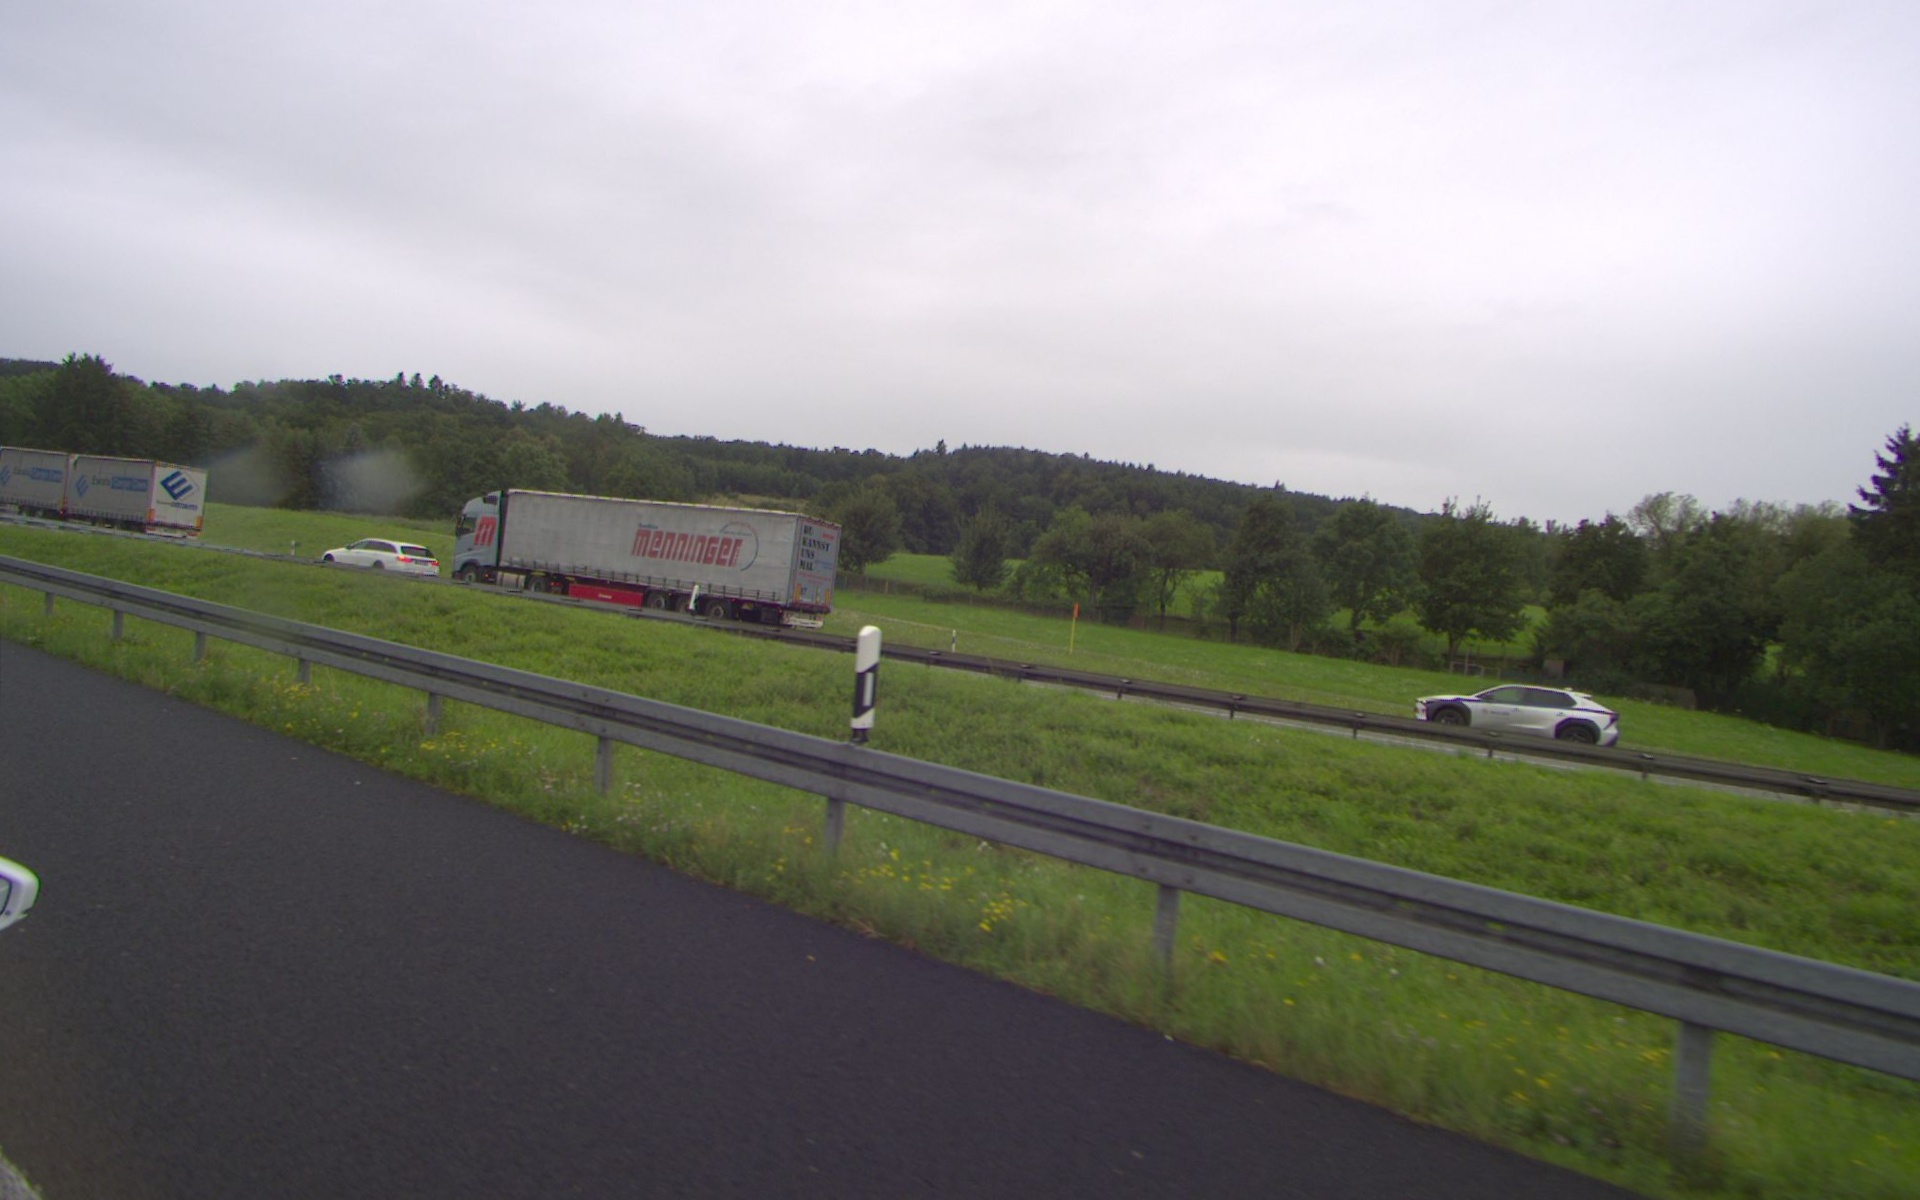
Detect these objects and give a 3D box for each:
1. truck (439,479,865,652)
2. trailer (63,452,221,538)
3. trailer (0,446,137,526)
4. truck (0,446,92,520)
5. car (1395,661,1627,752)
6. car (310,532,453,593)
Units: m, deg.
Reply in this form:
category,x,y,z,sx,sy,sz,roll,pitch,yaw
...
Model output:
category,x,y,z,sx,sy,sz,roll,pitch,yaw
truck,-11.833,-1.445,37.338,16.584,4.595,3.831,7,-1,26
trailer,-44.028,-5.672,54.140,7.939,3.567,3.089,7,-2,25
trailer,-51.308,-6.543,57.626,8.270,3.567,2.948,7,-2,26
truck,-54.731,-6.921,59.302,5.821,3.567,2.948,7,-2,25
car,14.057,2.672,25.968,4.944,1.522,1.824,7,-1,28
car,-21.507,-1.390,37.360,4.988,1.636,1.999,7,-1,25
